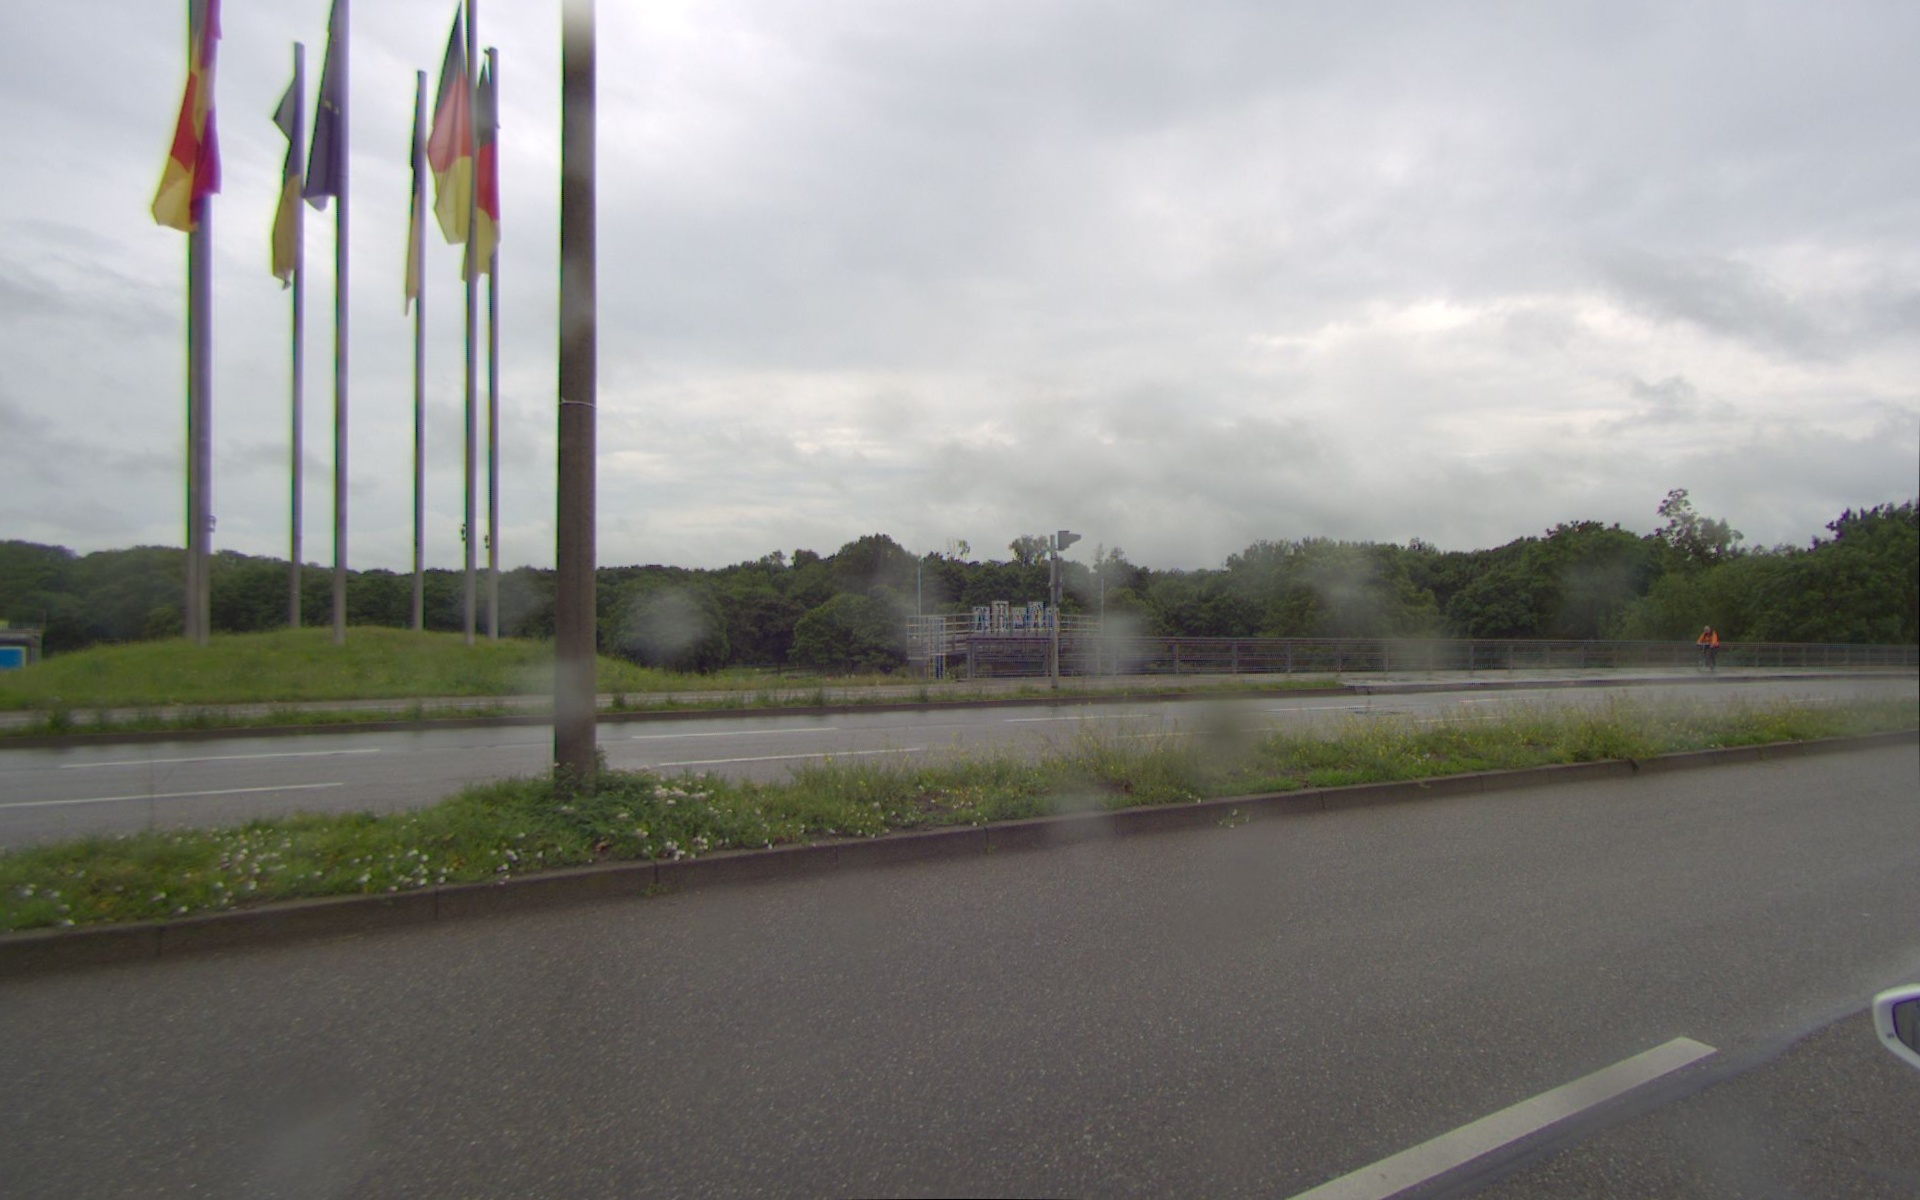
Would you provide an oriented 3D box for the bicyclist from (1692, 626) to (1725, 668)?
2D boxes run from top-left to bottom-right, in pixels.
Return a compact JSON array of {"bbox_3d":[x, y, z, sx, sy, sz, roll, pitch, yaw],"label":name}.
[{"bbox_3d":[28.364,1.783,38.080,0.991,1.520,0.617,2,0,-29],"label":"bicyclist"}]

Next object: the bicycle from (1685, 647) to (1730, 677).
[{"bbox_3d":[28.340,2.351,38.087,1.977,1.047,0.606,2,0,-29],"label":"bicycle"}]
